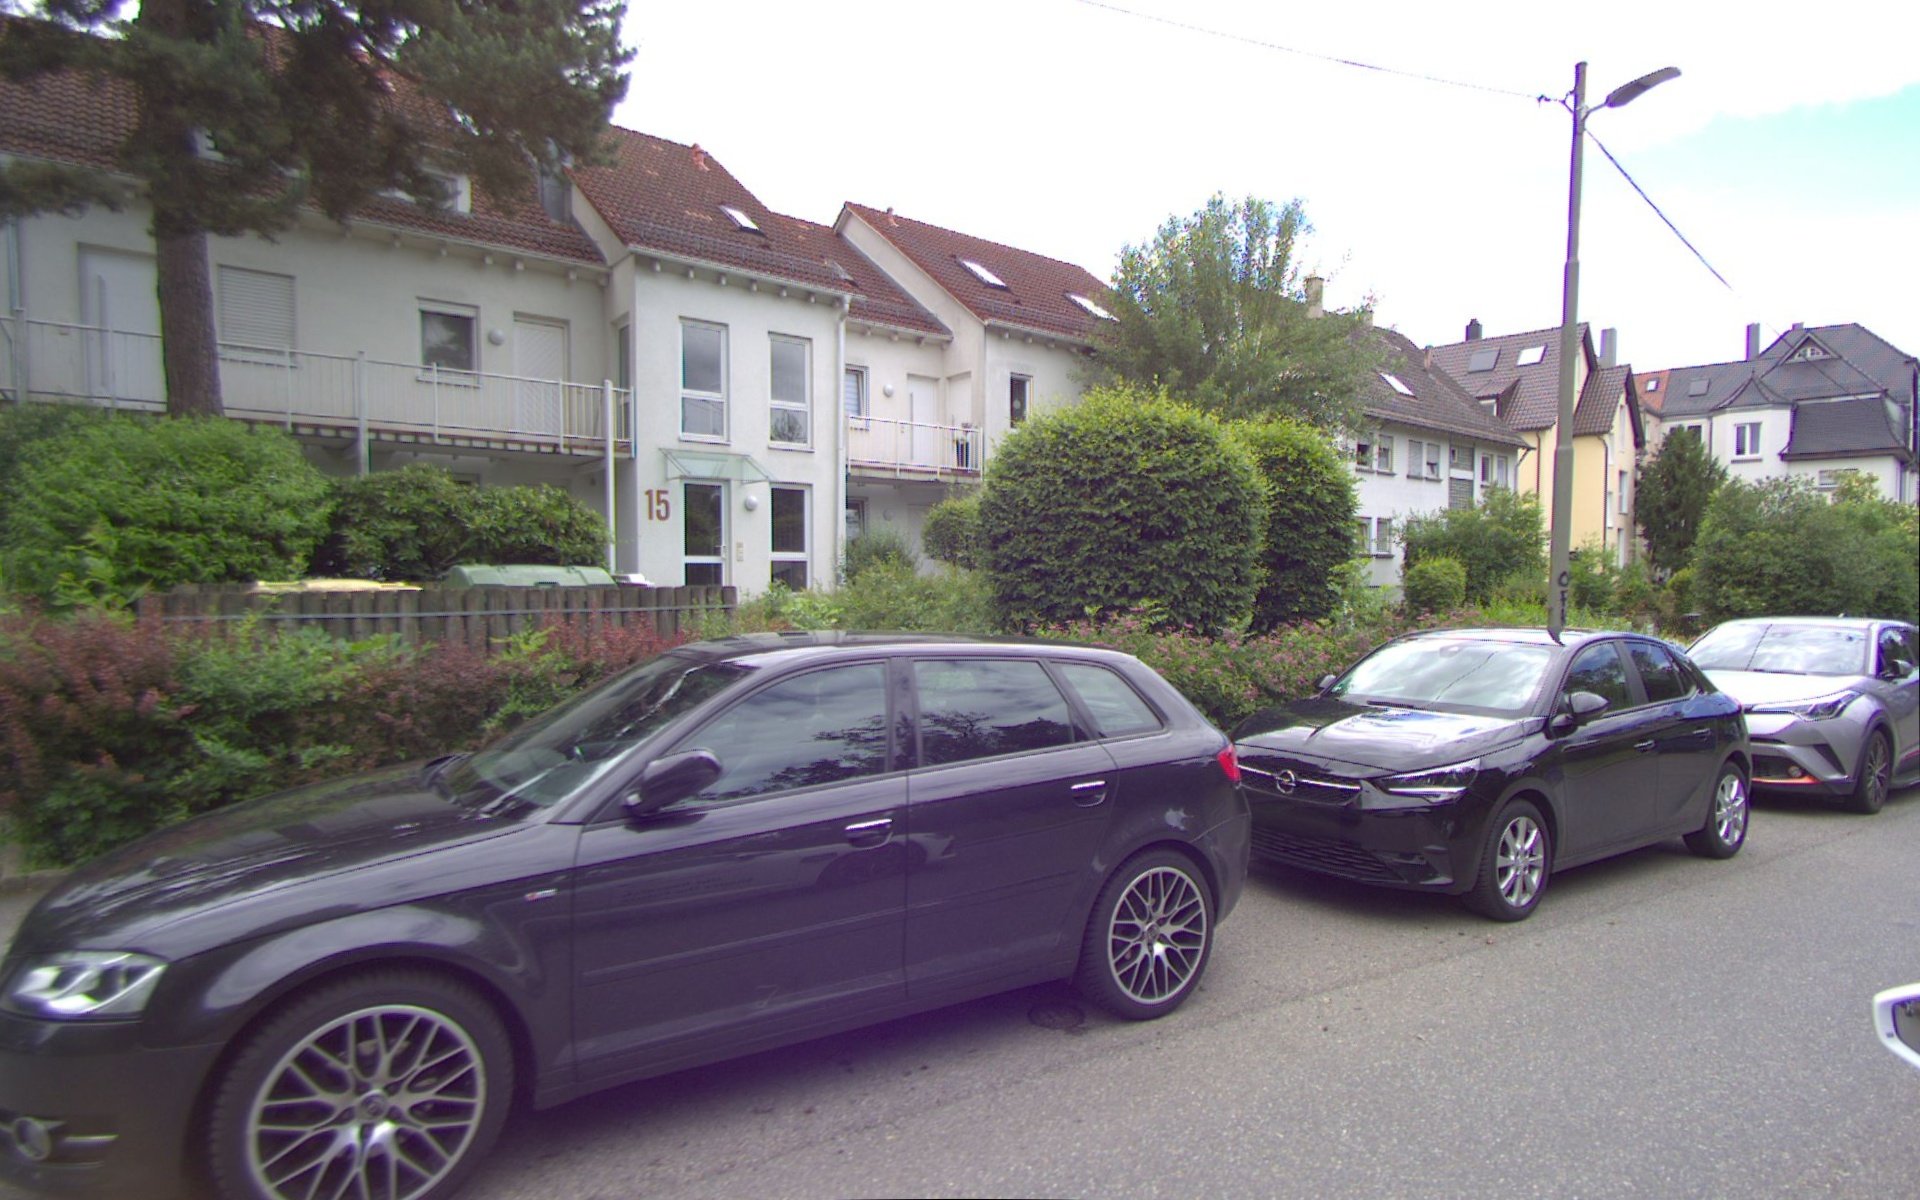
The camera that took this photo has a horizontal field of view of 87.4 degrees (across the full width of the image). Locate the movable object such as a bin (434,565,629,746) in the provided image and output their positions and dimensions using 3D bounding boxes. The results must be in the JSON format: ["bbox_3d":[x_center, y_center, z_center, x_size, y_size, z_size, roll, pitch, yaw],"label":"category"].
[{"bbox_3d":[-3.872,0.435,9.070,1.438,1.487,1.086,-1,2,-34],"label":"movable object such as a bin"}]

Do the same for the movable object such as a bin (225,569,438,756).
[{"bbox_3d":[-5.126,0.439,8.235,1.379,1.382,1.107,-1,2,-34],"label":"movable object such as a bin"}]

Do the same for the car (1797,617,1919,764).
[{"bbox_3d":[11.574,1.002,11.917,3.891,1.500,1.611,1,1,-36],"label":"car"}]

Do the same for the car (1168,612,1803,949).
[{"bbox_3d":[3.455,0.850,6.324,4.286,1.461,1.640,1,0,-33],"label":"car"}]

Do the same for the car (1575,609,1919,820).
[{"bbox_3d":[7.579,0.881,9.183,4.083,1.500,1.751,1,0,-33],"label":"car"}]

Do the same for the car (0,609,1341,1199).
[{"bbox_3d":[-0.736,0.793,3.791,4.453,1.437,1.725,1,0,-32],"label":"car"}]

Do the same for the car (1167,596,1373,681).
[{"bbox_3d":[5.941,0.665,19.094,3.892,1.477,1.692,0,0,-34],"label":"car"}]
